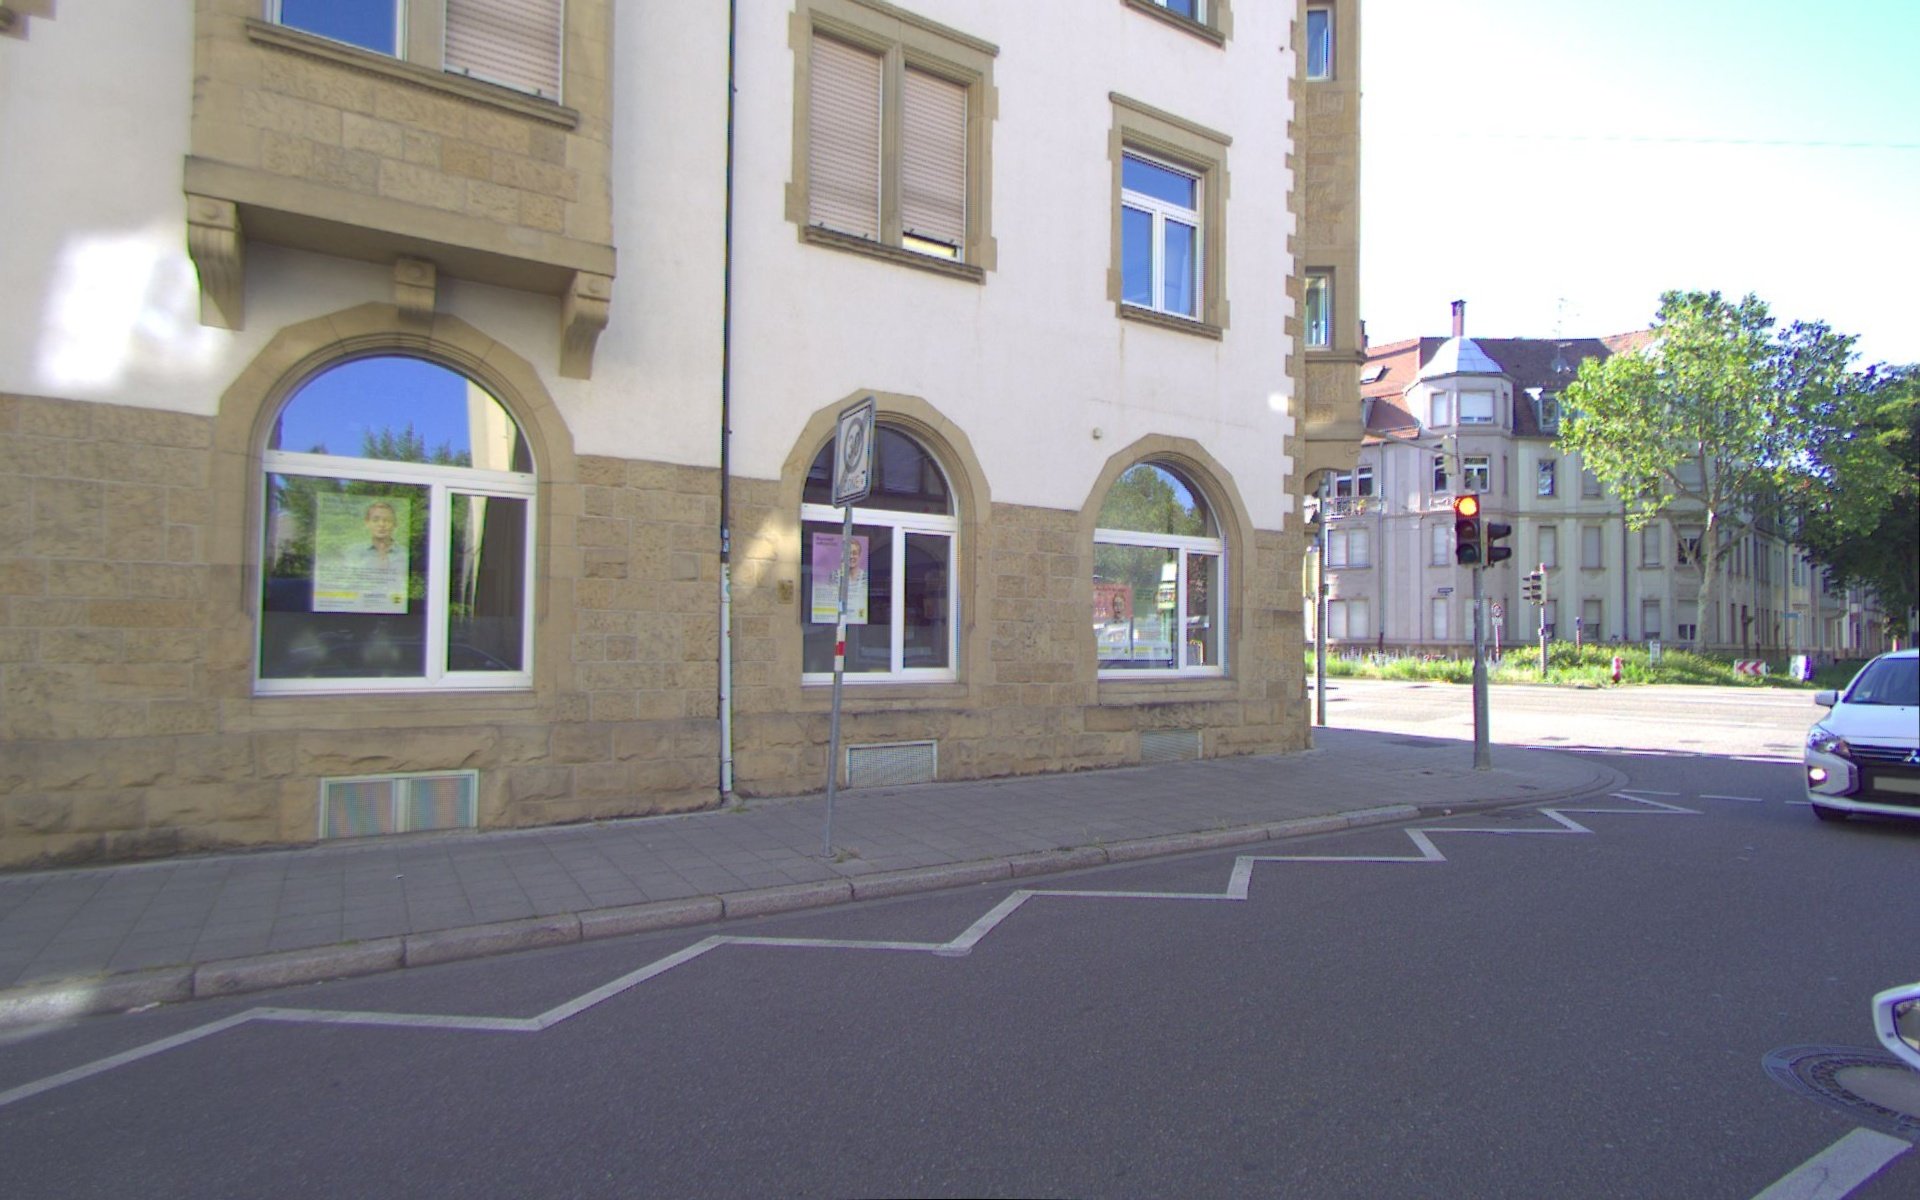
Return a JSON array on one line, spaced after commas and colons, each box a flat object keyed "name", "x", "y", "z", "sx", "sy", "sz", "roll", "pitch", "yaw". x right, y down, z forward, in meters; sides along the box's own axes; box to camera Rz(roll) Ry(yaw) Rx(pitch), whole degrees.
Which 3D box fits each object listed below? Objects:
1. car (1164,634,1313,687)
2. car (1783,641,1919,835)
[{"name": "car", "x": 8.365, "y": 1.796, "z": 30.401, "sx": 3.944, "sy": 1.336, "sz": 1.812, "roll": 2, "pitch": -1, "yaw": 43}, {"name": "car", "x": 8.905, "y": 1.112, "z": 8.865, "sx": 3.762, "sy": 1.491, "sz": 1.614, "roll": 2, "pitch": -3, "yaw": -36}]
